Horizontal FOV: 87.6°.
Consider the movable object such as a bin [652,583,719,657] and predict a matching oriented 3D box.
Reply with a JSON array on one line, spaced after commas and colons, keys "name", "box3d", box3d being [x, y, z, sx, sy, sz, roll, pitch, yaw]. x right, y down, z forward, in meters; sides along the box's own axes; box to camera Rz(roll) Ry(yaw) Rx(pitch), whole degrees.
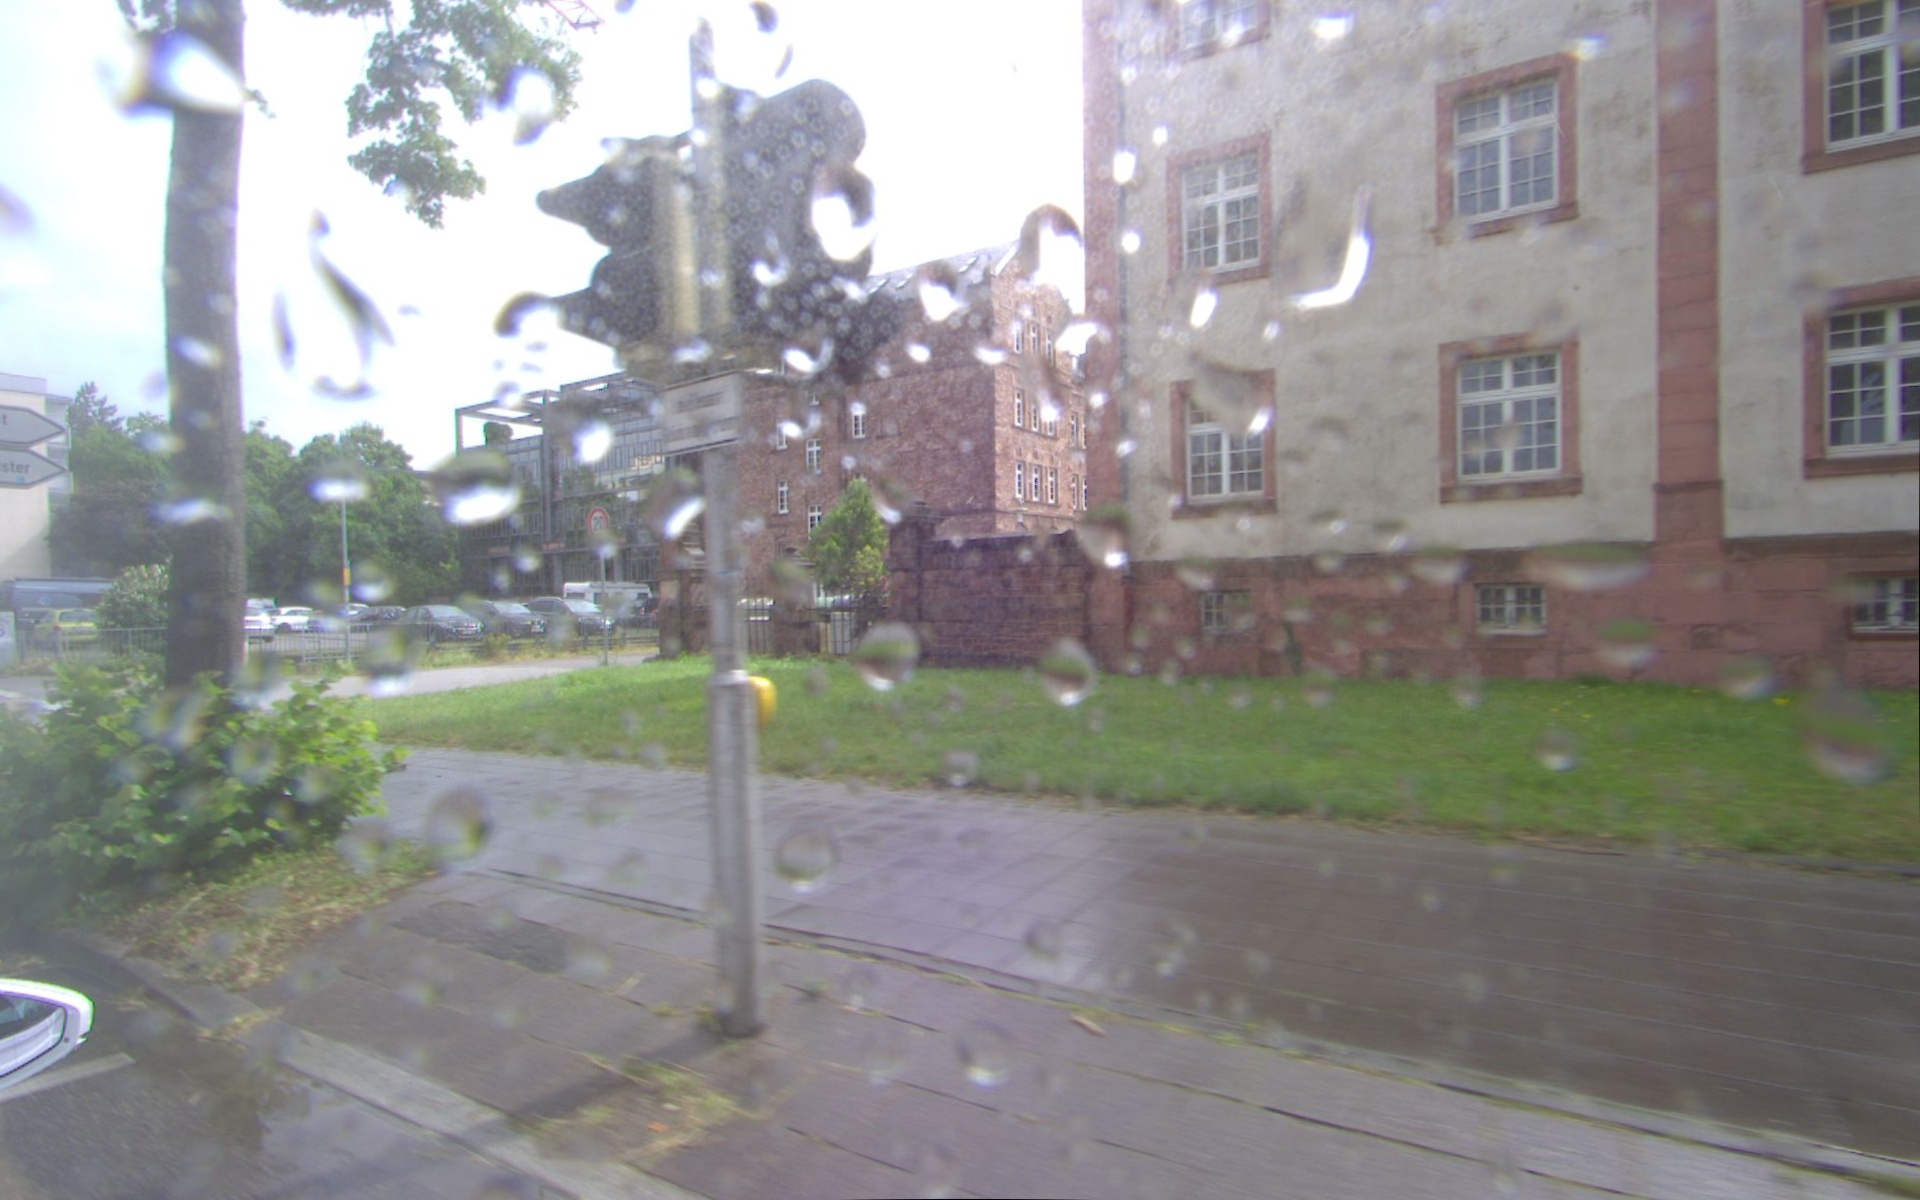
[{"name": "movable object such as a bin", "box3d": [-5.762, 0.408, 21.043, 1.082, 1.477, 0.797, 0, 2, 34]}]

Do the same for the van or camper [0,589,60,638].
[{"name": "van or camper", "box3d": [-43.669, 0.602, 44.770, 2.291, 2.160, 4.743, 0, 0, 36]}]

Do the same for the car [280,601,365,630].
[{"name": "car", "box3d": [-35.831, 0.861, 56.340, 1.617, 1.506, 3.654, -1, 1, 35]}]

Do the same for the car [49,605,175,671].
[{"name": "car", "box3d": [-25.148, 1.081, 29.655, 4.181, 1.773, 1.798, -1, 1, 35]}]

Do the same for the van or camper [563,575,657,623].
[{"name": "van or camper", "box3d": [-19.919, 0.014, 57.167, 2.226, 2.518, 4.778, -2, -2, 32]}]

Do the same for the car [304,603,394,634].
[{"name": "car", "box3d": [-32.126, 0.940, 52.729, 1.617, 1.506, 3.654, -1, 1, 35]}]

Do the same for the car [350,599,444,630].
[{"name": "car", "box3d": [-29.340, 0.734, 52.266, 1.649, 1.485, 3.962, -1, 1, 34]}]

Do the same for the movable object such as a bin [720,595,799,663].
[{"name": "movable object such as a bin", "box3d": [-4.634, 0.655, 23.164, 1.371, 1.477, 1.103, 0, 2, 34]}]

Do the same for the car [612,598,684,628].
[{"name": "car", "box3d": [-17.541, 0.724, 56.408, 1.649, 1.598, 3.656, -1, 1, 34]}]

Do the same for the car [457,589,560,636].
[{"name": "car", "box3d": [-17.629, 0.494, 38.998, 4.368, 1.701, 1.845, -1, 1, 39]}]

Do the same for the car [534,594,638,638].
[{"name": "car", "box3d": [-15.469, 0.667, 41.388, 4.363, 1.701, 1.847, -1, 1, 35]}]

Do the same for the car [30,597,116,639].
[{"name": "car", "box3d": [-32.481, 0.649, 36.647, 3.371, 1.468, 1.605, -1, 1, 36]}]

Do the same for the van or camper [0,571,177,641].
[{"name": "van or camper", "box3d": [-34.594, 0.246, 39.845, 2.145, 2.588, 4.986, -2, -1, 34]}]

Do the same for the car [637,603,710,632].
[{"name": "car", "box3d": [-15.599, 0.997, 54.644, 1.649, 1.505, 3.659, -1, -2, 34]}]

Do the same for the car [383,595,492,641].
[{"name": "car", "box3d": [-19.044, 0.645, 36.414, 4.367, 1.547, 1.822, -1, 1, 38]}]

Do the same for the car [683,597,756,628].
[{"name": "car", "box3d": [-12.919, 0.670, 53.979, 1.649, 1.545, 3.656, -1, 1, 34]}]

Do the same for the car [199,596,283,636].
[{"name": "car", "box3d": [-29.314, 0.644, 40.803, 3.669, 1.506, 1.643, -1, 1, 36]}]
